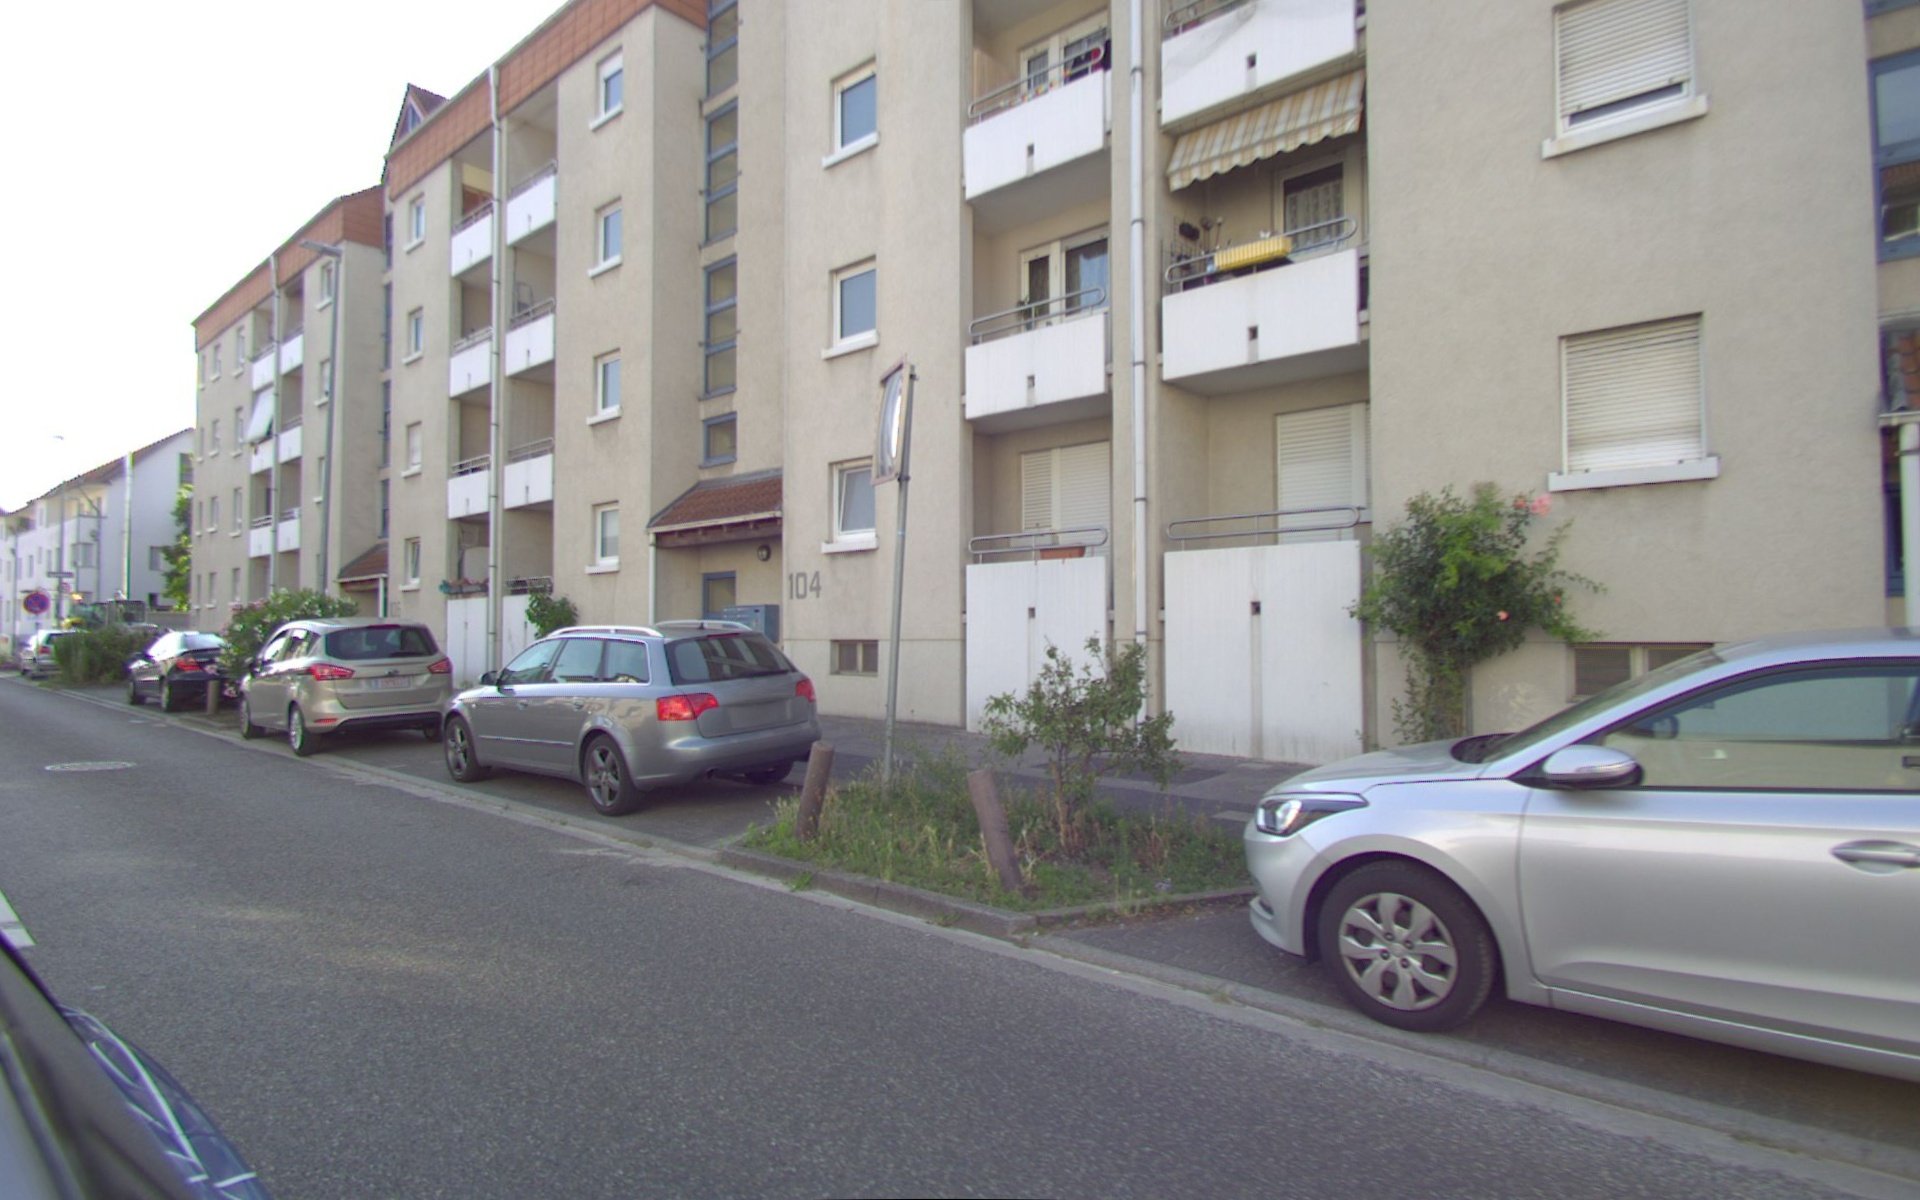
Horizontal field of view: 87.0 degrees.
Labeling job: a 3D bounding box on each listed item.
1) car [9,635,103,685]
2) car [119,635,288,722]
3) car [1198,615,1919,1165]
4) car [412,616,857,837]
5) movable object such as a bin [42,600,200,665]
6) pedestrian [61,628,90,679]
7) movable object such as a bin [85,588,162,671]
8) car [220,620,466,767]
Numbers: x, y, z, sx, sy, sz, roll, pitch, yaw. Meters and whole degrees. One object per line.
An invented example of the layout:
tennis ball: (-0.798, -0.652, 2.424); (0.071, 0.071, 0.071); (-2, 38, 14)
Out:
car: (-27.719, 1.799, 31.015); (3.668, 1.406, 1.624); (-2, -2, 40)
car: (-14.112, 1.373, 18.798); (4.081, 1.416, 1.668); (-2, -2, 41)
car: (3.077, 0.788, 3.381); (4.138, 1.466, 1.669); (-2, -2, 40)
car: (-3.103, 0.949, 9.154); (4.367, 1.533, 1.789); (-2, -2, 40)
movable object such as a bin: (-40.211, 1.548, 48.677); (2.103, 2.923, 5.460); (-2, -2, 29)
pedestrian: (-32.450, 1.958, 37.138); (0.745, 1.832, 0.711); (-3, -3, 41)
movable object such as a bin: (-33.499, 1.224, 40.500); (3.896, 3.162, 1.631); (-3, -3, 40)
car: (-8.044, 1.077, 13.050); (3.965, 1.567, 1.708); (-2, -1, 43)
